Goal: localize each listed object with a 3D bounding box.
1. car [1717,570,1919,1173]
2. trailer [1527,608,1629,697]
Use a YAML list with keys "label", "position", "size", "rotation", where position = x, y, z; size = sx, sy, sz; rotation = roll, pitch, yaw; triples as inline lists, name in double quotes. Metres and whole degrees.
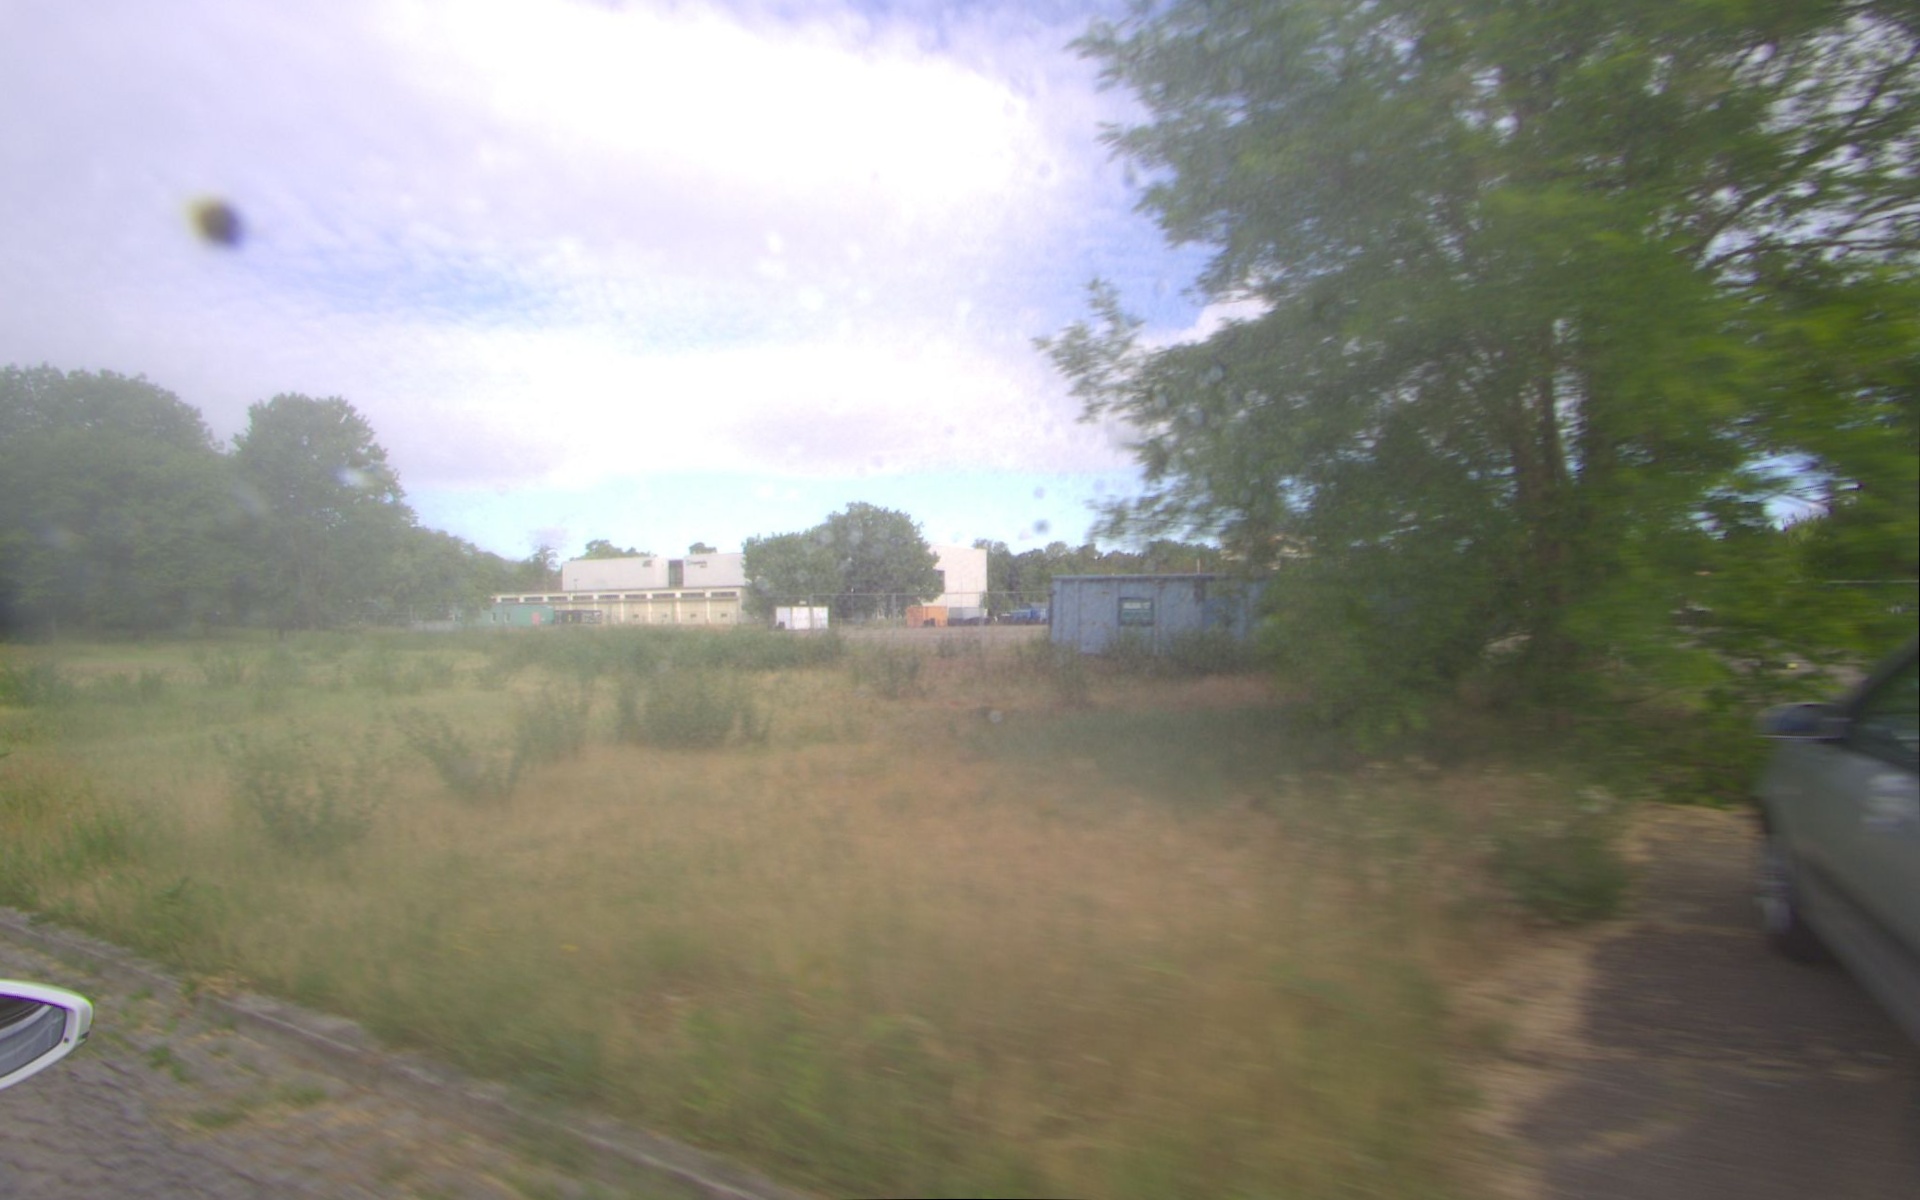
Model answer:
- label: "car"
  position: [3.392, 0.695, 2.504]
  size: [1.715, 1.500, 3.767]
  rotation: [0, 3, 27]
- label: "trailer"
  position: [8.987, 0.742, 14.667]
  size: [1.126, 1.185, 2.311]
  rotation: [-1, -2, 28]
